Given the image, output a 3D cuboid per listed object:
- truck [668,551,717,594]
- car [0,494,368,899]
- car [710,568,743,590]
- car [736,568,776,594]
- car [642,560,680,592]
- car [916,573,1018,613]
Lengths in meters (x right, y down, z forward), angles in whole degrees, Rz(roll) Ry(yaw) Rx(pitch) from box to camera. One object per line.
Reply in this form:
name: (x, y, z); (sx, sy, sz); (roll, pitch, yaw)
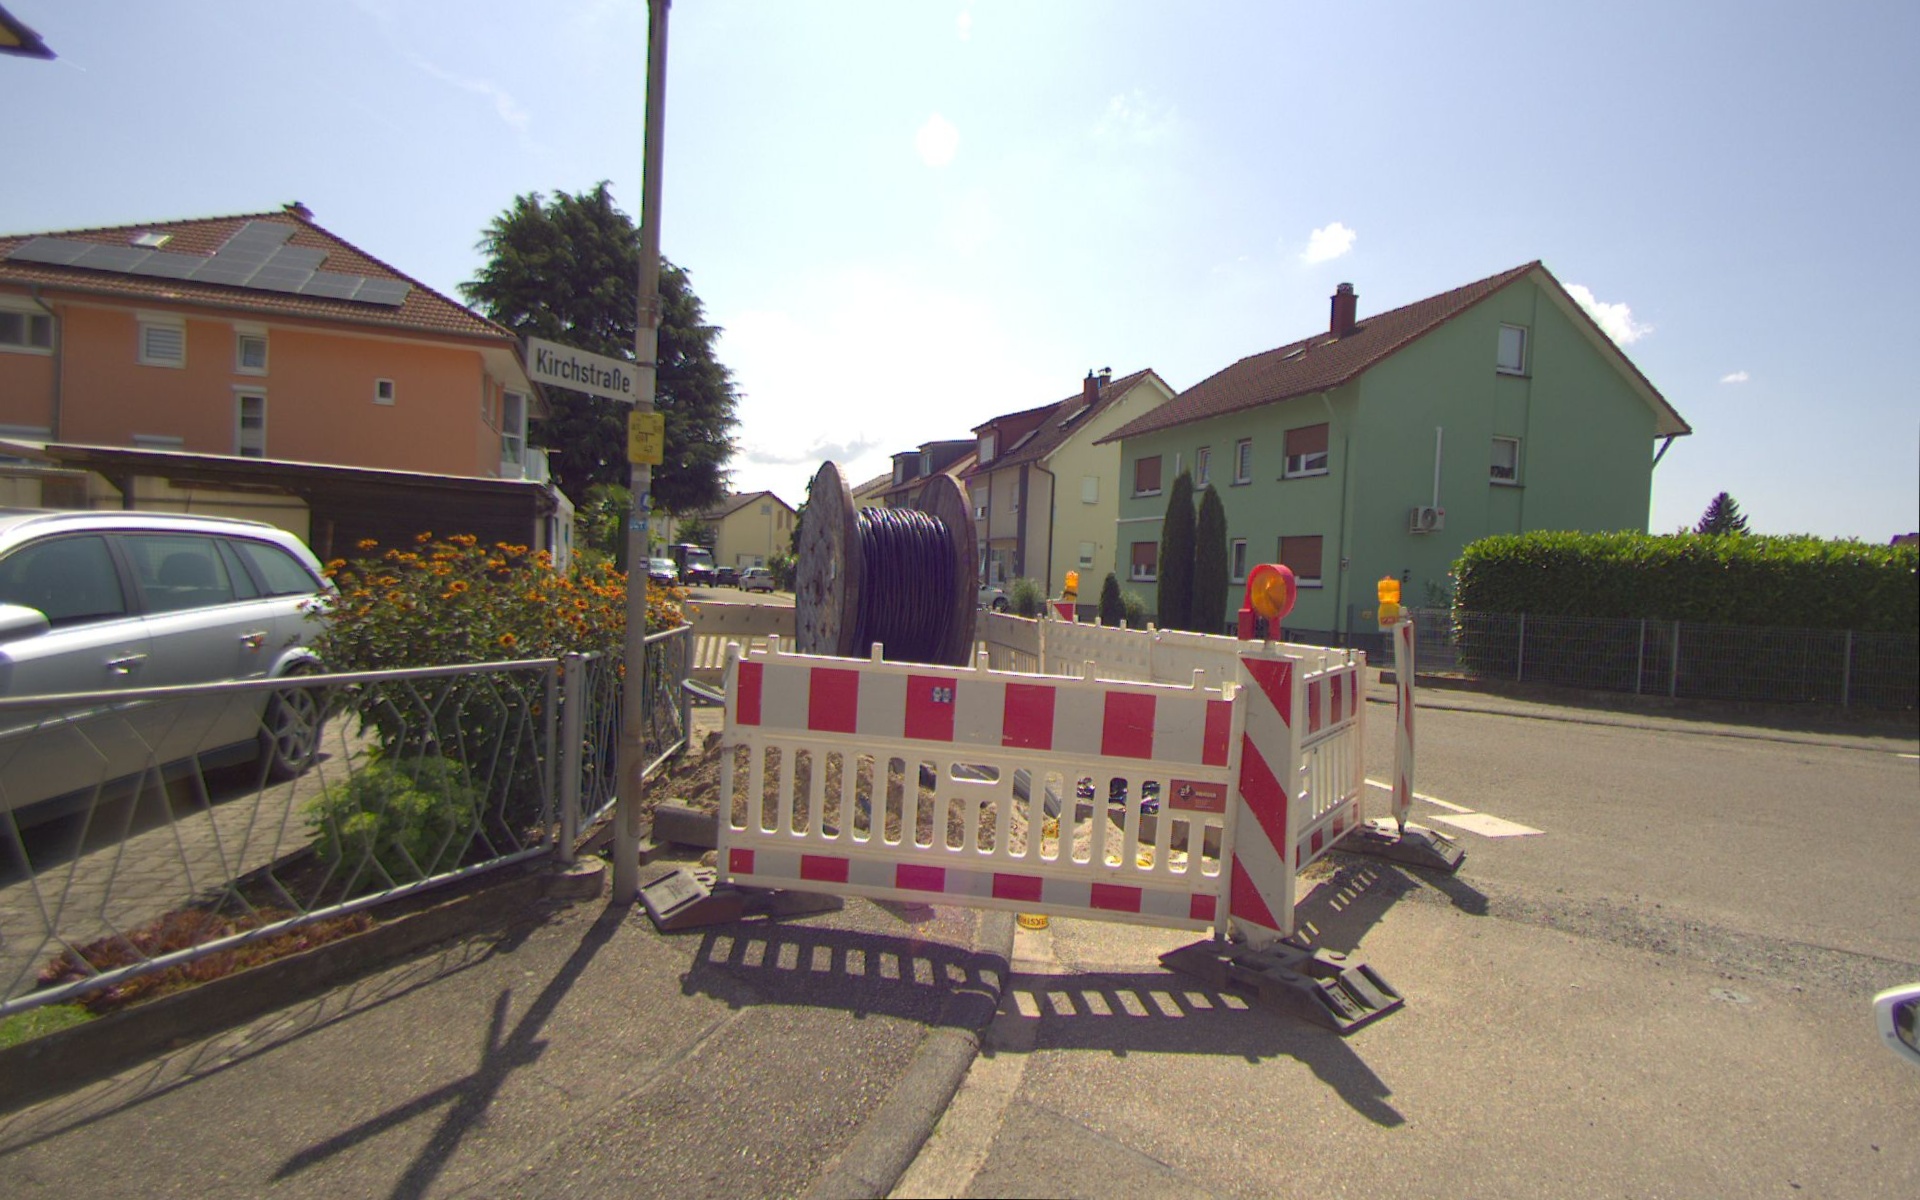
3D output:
truck: (-18.680, -1.942, 69.888); (2.406, 2.825, 7.258); (-1, 2, -22)
car: (-4.492, 0.309, 4.222); (1.759, 1.505, 4.467); (3, 1, -7)
car: (-17.429, -1.600, 74.842); (1.788, 1.515, 3.978); (2, 2, -22)
car: (-12.824, -1.207, 63.002); (1.788, 1.515, 3.978); (2, 2, -22)
car: (-18.010, -1.468, 60.374); (1.788, 1.786, 4.184); (2, 2, -22)
car: (0.269, -0.285, 41.655); (3.865, 1.530, 1.766); (1, 2, -19)
